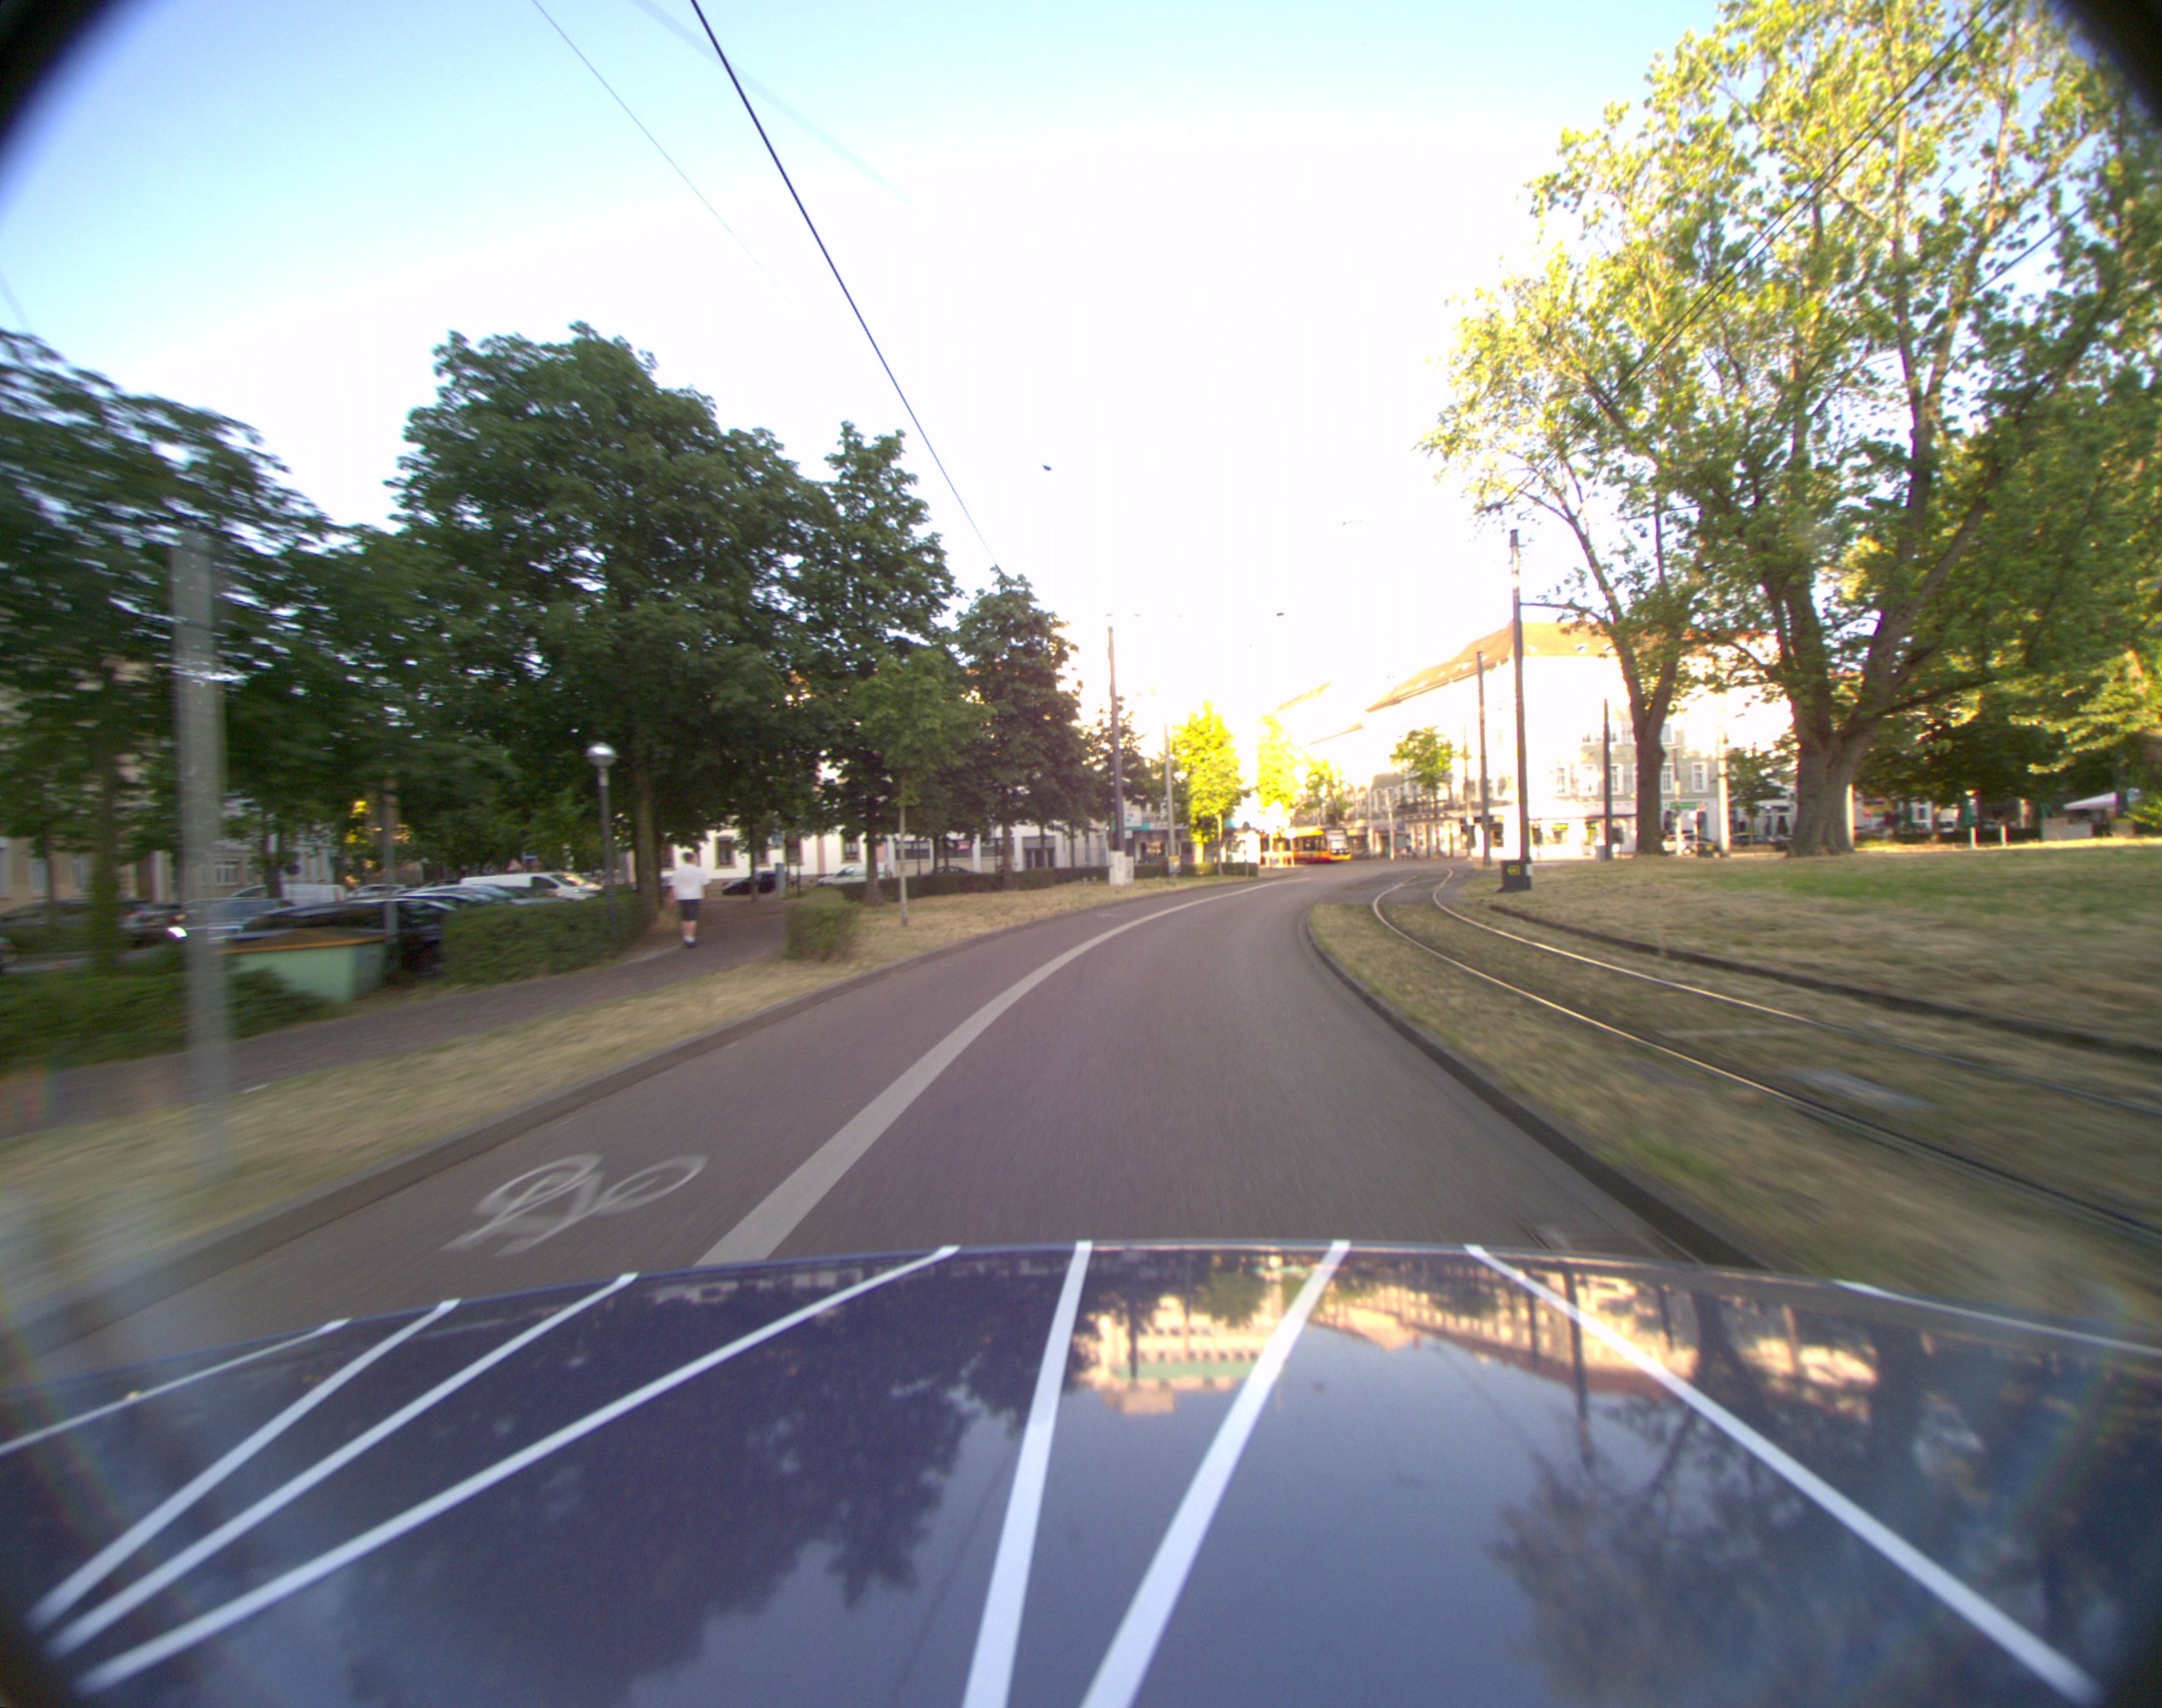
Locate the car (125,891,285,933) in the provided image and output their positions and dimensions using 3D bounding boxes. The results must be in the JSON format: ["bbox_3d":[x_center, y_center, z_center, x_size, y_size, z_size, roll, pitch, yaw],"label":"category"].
[{"bbox_3d":[-37.977,2.485,33.078,4.070,1.542,1.998,-2,-1,-16],"label":"car"}]

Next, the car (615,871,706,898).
[{"bbox_3d":[-25.169,1.834,45.642,4.396,1.410,1.726,-2,-1,-11],"label":"car"}]

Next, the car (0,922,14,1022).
[{"bbox_3d":[-15.956,1.724,9.327,1.824,1.473,4.126,-2,-1,-32],"label":"car"}]

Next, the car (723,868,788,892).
[{"bbox_3d":[-21.937,1.772,51.319,3.676,1.440,1.700,-2,-1,-9],"label":"car"}]

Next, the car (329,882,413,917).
[{"bbox_3d":[-51.259,3.242,54.990,4.075,2.280,1.996,-2,-1,-32],"label":"car"}]

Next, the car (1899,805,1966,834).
[{"bbox_3d":[68.078,-2.755,60.760,4.001,1.987,1.857,-3,0,-13],"label":"car"}]

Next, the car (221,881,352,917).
[{"bbox_3d":[-41.614,2.315,39.956,4.406,1.603,1.725,-2,-1,-32],"label":"car"}]

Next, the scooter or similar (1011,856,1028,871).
[{"bbox_3d":[-4.659,0.727,57.496,1.180,1.026,0.489,-2,0,10],"label":"scooter or similar"}]

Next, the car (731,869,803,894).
[{"bbox_3d":[-19.258,1.686,46.689,3.784,1.328,1.726,-2,-1,-11],"label":"car"}]

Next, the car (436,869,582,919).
[{"bbox_3d":[-26.643,1.829,35.568,5.082,2.010,1.966,-2,-1,-8],"label":"car"}]

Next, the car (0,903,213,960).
[{"bbox_3d":[-33.287,2.594,26.129,4.075,1.542,1.996,-2,-1,-32],"label":"car"}]

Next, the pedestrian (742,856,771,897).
[{"bbox_3d":[-16.334,1.118,38.259,0.828,2.001,1.010,-2,0,20],"label":"pedestrian"}]

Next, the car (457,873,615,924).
[{"bbox_3d":[-23.408,1.858,32.817,5.082,1.891,2.120,-2,-1,-8],"label":"car"}]

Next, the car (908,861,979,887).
[{"bbox_3d":[-8.745,1.243,48.283,4.324,1.402,1.804,-2,2,-11],"label":"car"}]

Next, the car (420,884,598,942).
[{"bbox_3d":[-18.145,1.819,24.332,4.070,1.542,1.998,-2,-1,-16],"label":"car"}]

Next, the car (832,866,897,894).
[{"bbox_3d":[-14.702,1.773,51.691,4.014,1.714,1.700,-2,-1,-9],"label":"car"}]

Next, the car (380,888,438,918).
[{"bbox_3d":[-36.565,2.631,41.438,1.824,1.473,4.126,-2,-1,-34],"label":"car"}]

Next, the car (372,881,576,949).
[{"bbox_3d":[-17.263,1.688,21.863,4.070,1.608,1.998,-2,-1,-16],"label":"car"}]

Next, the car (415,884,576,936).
[{"bbox_3d":[-20.829,1.969,27.251,4.070,1.542,1.998,-2,-1,-16],"label":"car"}]

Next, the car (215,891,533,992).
[{"bbox_3d":[-13.407,1.601,14.739,4.070,1.547,1.863,-2,-1,-16],"label":"car"}]

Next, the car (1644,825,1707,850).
[{"bbox_3d":[49.257,-1.342,62.996,4.001,1.892,1.998,-2,-1,-13],"label":"car"}]

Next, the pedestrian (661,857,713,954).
[{"bbox_3d":[-7.288,0.931,14.058,0.770,1.705,0.784,-2,-1,-28],"label":"pedestrian"}]

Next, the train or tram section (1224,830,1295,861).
[{"bbox_3d":[20.236,-0.898,87.410,2.932,3.123,12.844,-3,1,-11],"label":"train or tram section"}]

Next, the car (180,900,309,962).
[{"bbox_3d":[-24.297,2.171,22.228,1.824,1.473,4.125,-2,-1,-38],"label":"car"}]

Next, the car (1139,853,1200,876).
[{"bbox_3d":[6.509,0.777,55.961,4.000,1.441,1.847,-3,-1,-11],"label":"car"}]

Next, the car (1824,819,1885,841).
[{"bbox_3d":[67.176,-2.049,65.989,4.001,1.695,1.858,-2,-1,-13],"label":"car"}]

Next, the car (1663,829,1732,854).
[{"bbox_3d":[46.126,-0.935,56.871,4.001,1.695,1.858,-2,-1,-13],"label":"car"}]

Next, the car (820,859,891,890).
[{"bbox_3d":[-14.048,1.274,47.550,4.014,1.714,1.700,-2,-1,-11],"label":"car"}]

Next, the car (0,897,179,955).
[{"bbox_3d":[-31.993,2.248,23.978,4.075,1.542,1.996,-2,-1,-32],"label":"car"}]

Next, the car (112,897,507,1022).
[{"bbox_3d":[-12.166,1.594,12.350,4.070,1.547,1.863,-2,-1,-16],"label":"car"}]

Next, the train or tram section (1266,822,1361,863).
[{"bbox_3d":[22.448,-1.069,74.648,2.950,3.563,13.354,-3,1,-10],"label":"train or tram section"}]

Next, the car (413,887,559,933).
[{"bbox_3d":[-23.518,2.183,30.226,4.070,1.542,1.998,-2,-1,-16],"label":"car"}]

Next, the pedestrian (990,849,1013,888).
[{"bbox_3d":[-3.308,0.594,31.747,0.612,1.615,0.652,-3,-1,37],"label":"pedestrian"}]

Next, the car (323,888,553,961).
[{"bbox_3d":[-16.555,1.761,19.840,4.070,1.542,1.998,-2,-1,-16],"label":"car"}]
